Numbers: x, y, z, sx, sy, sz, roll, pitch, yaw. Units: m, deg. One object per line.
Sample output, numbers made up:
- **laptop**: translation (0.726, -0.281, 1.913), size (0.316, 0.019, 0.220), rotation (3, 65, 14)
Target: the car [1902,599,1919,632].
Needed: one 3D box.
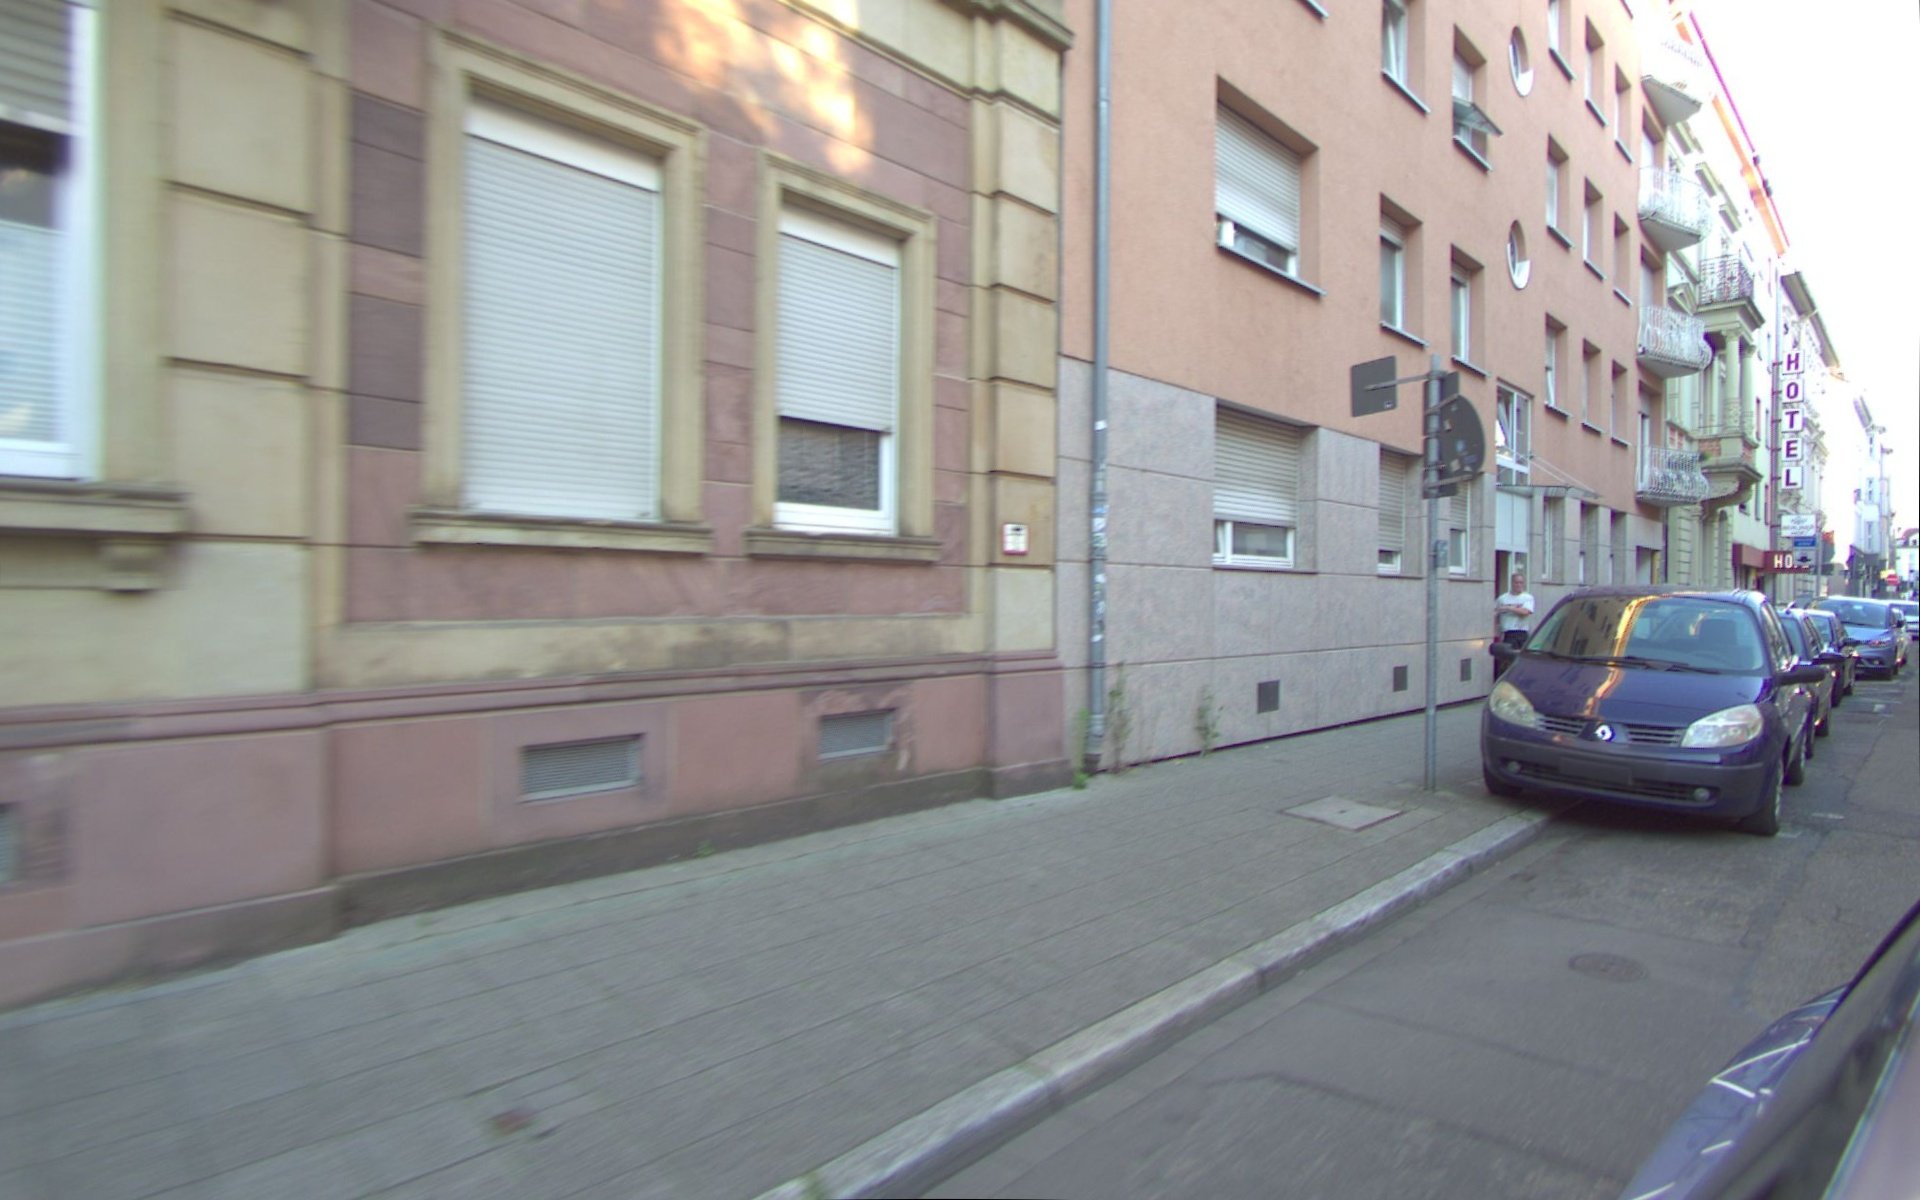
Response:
- **car**: translation (45.536, 0.720, 47.508), size (3.910, 1.497, 1.726), rotation (0, 0, -44)

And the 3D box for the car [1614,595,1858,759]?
- **car**: translation (8.962, 0.713, 11.543), size (1.690, 1.533, 4.213), rotation (0, 0, 45)

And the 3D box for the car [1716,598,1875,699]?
- **car**: translation (14.062, 0.711, 16.953), size (1.690, 1.476, 4.065), rotation (0, 0, 45)

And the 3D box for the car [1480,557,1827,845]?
- **car**: translation (5.525, 0.575, 7.843), size (1.689, 1.645, 3.992), rotation (0, 0, 42)

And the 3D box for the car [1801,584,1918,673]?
- **car**: translation (19.671, 0.569, 22.077), size (1.690, 1.763, 4.042), rotation (0, 0, 45)

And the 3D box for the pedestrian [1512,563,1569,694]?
- **pedestrian**: translation (8.092, 0.385, 14.105), size (0.549, 1.766, 0.559), rotation (0, 0, 44)

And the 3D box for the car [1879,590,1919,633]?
- **car**: translation (41.807, 0.492, 44.351), size (4.286, 1.715, 1.840), rotation (0, 5, -44)

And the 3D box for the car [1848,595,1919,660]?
- **car**: translation (24.729, 0.685, 26.826), size (1.570, 1.599, 3.531), rotation (0, 0, 45)
